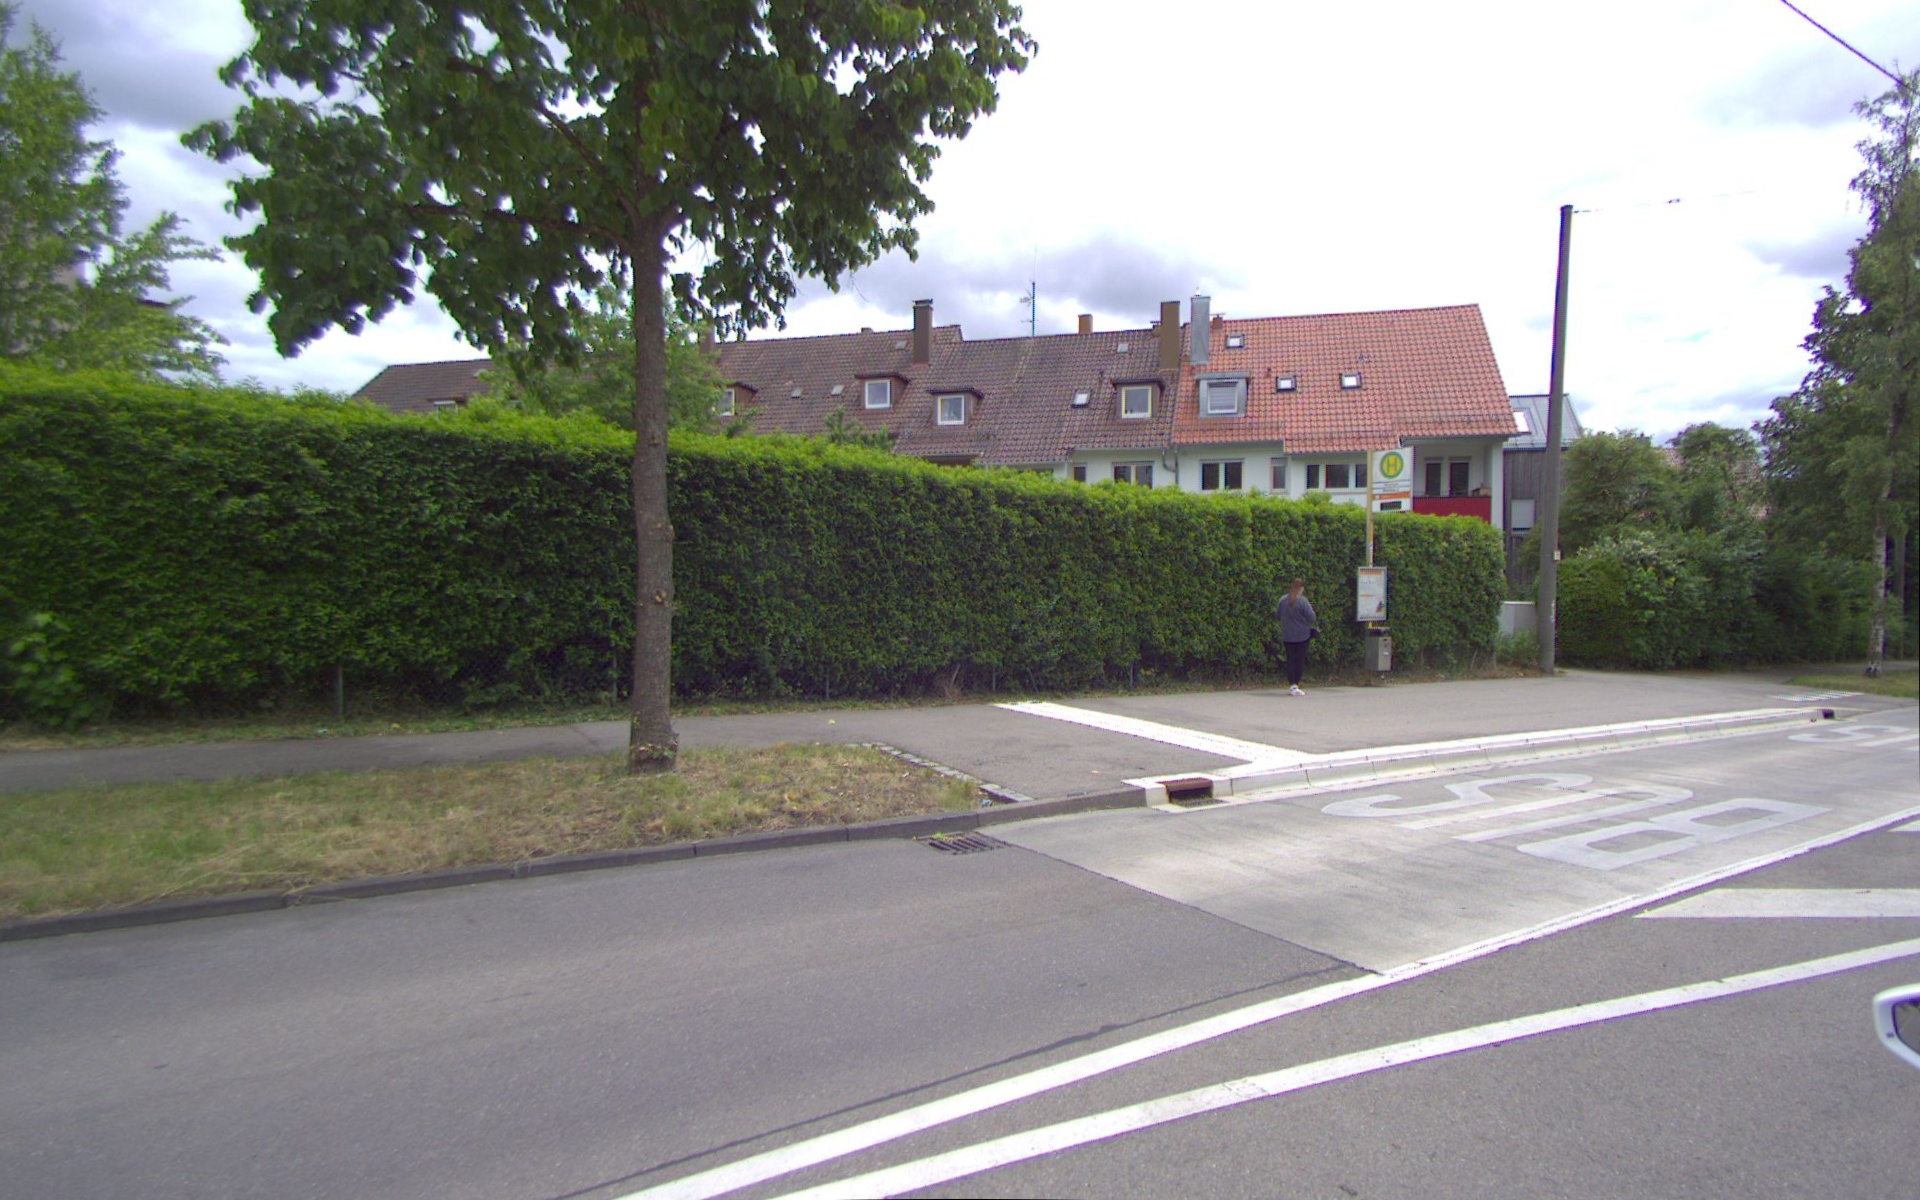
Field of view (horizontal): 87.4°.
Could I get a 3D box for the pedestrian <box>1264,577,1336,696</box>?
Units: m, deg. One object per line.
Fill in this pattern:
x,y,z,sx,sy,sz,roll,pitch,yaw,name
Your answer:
5.101,0.533,15.092,0.772,1.733,0.686,1,1,-39,pedestrian
